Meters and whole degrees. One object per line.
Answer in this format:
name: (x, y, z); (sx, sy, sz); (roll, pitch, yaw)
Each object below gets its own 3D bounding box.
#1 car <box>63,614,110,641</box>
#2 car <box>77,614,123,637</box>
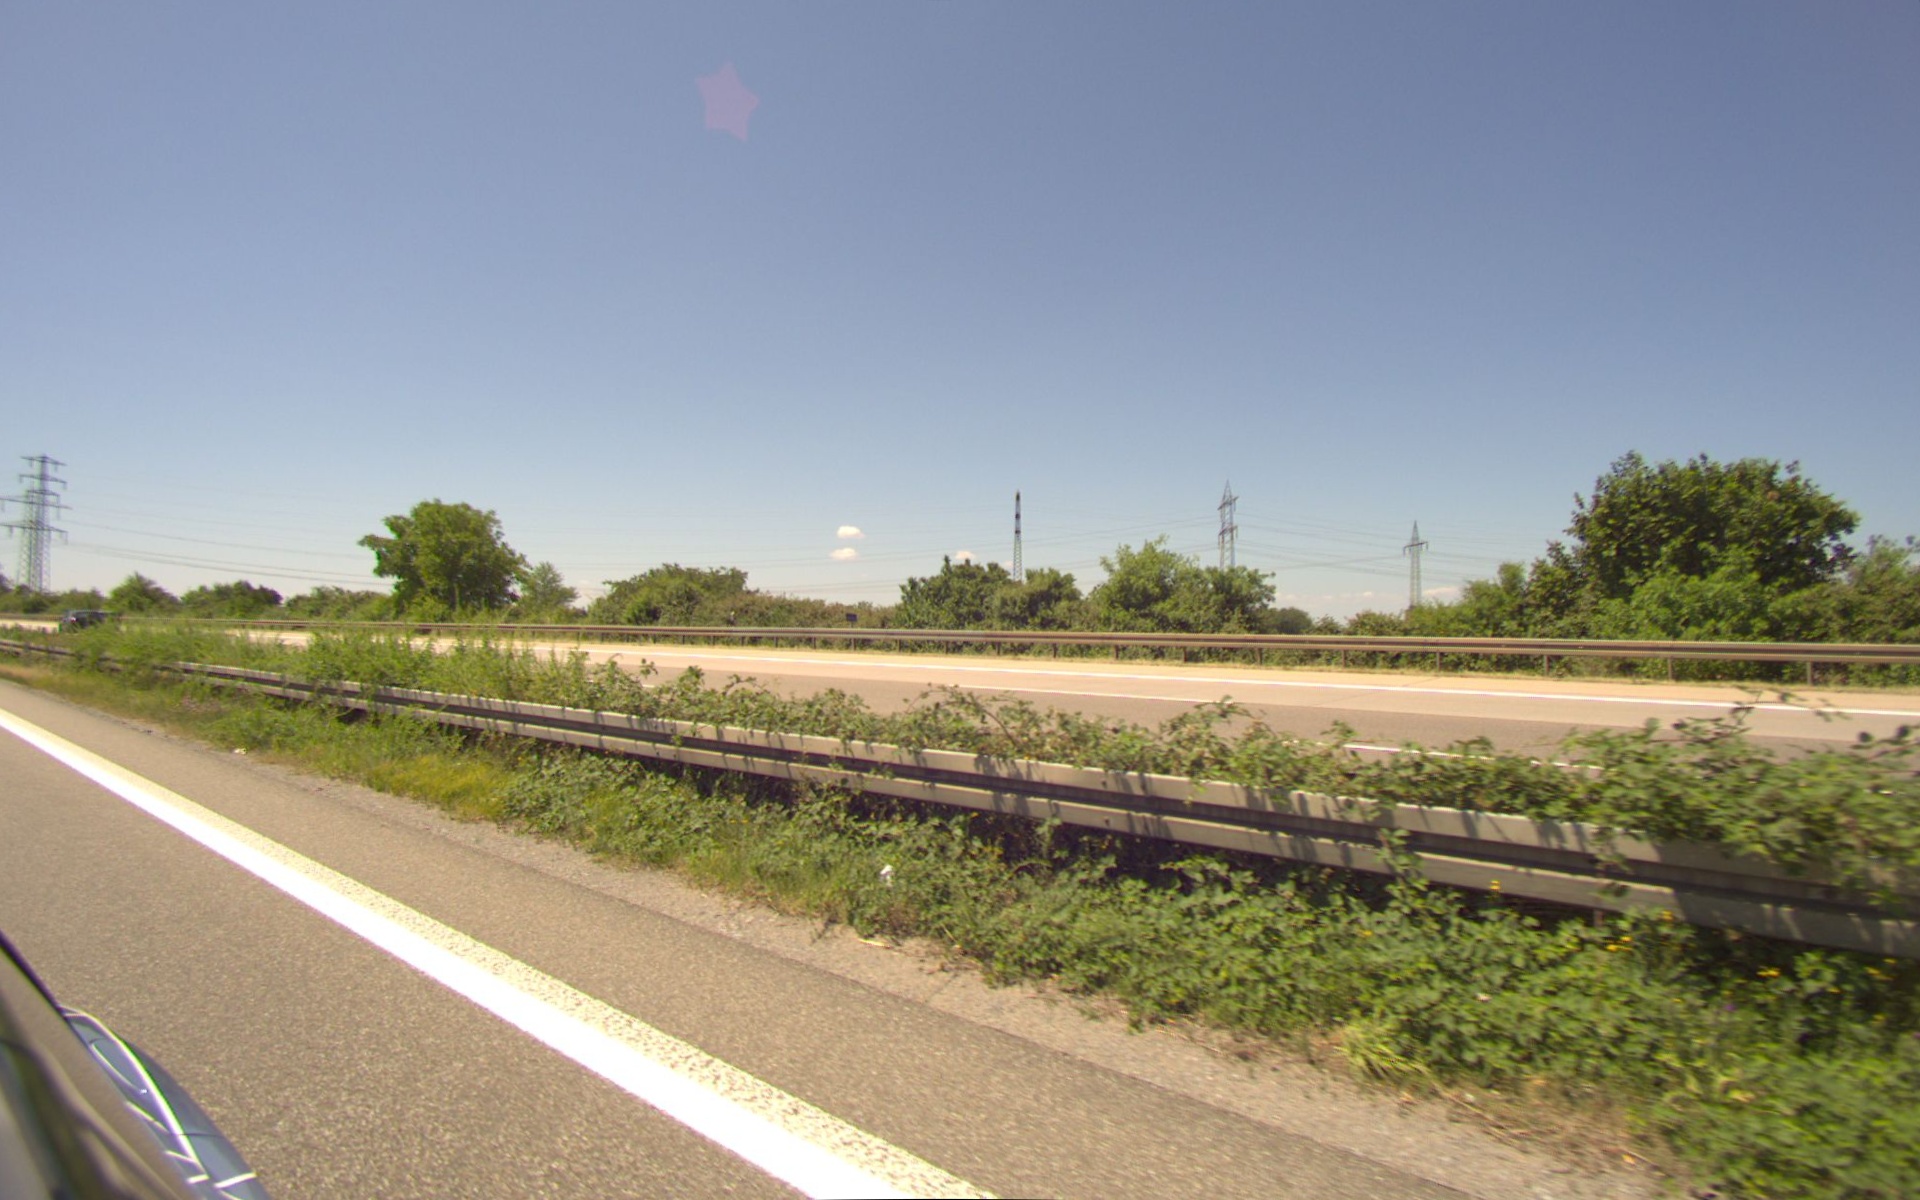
car: (-54.851, 1.699, 63.523); (4.063, 1.572, 1.628); (0, 0, 40)
car: (-63.491, 1.845, 74.677); (4.652, 1.674, 1.765); (-1, -1, 39)
